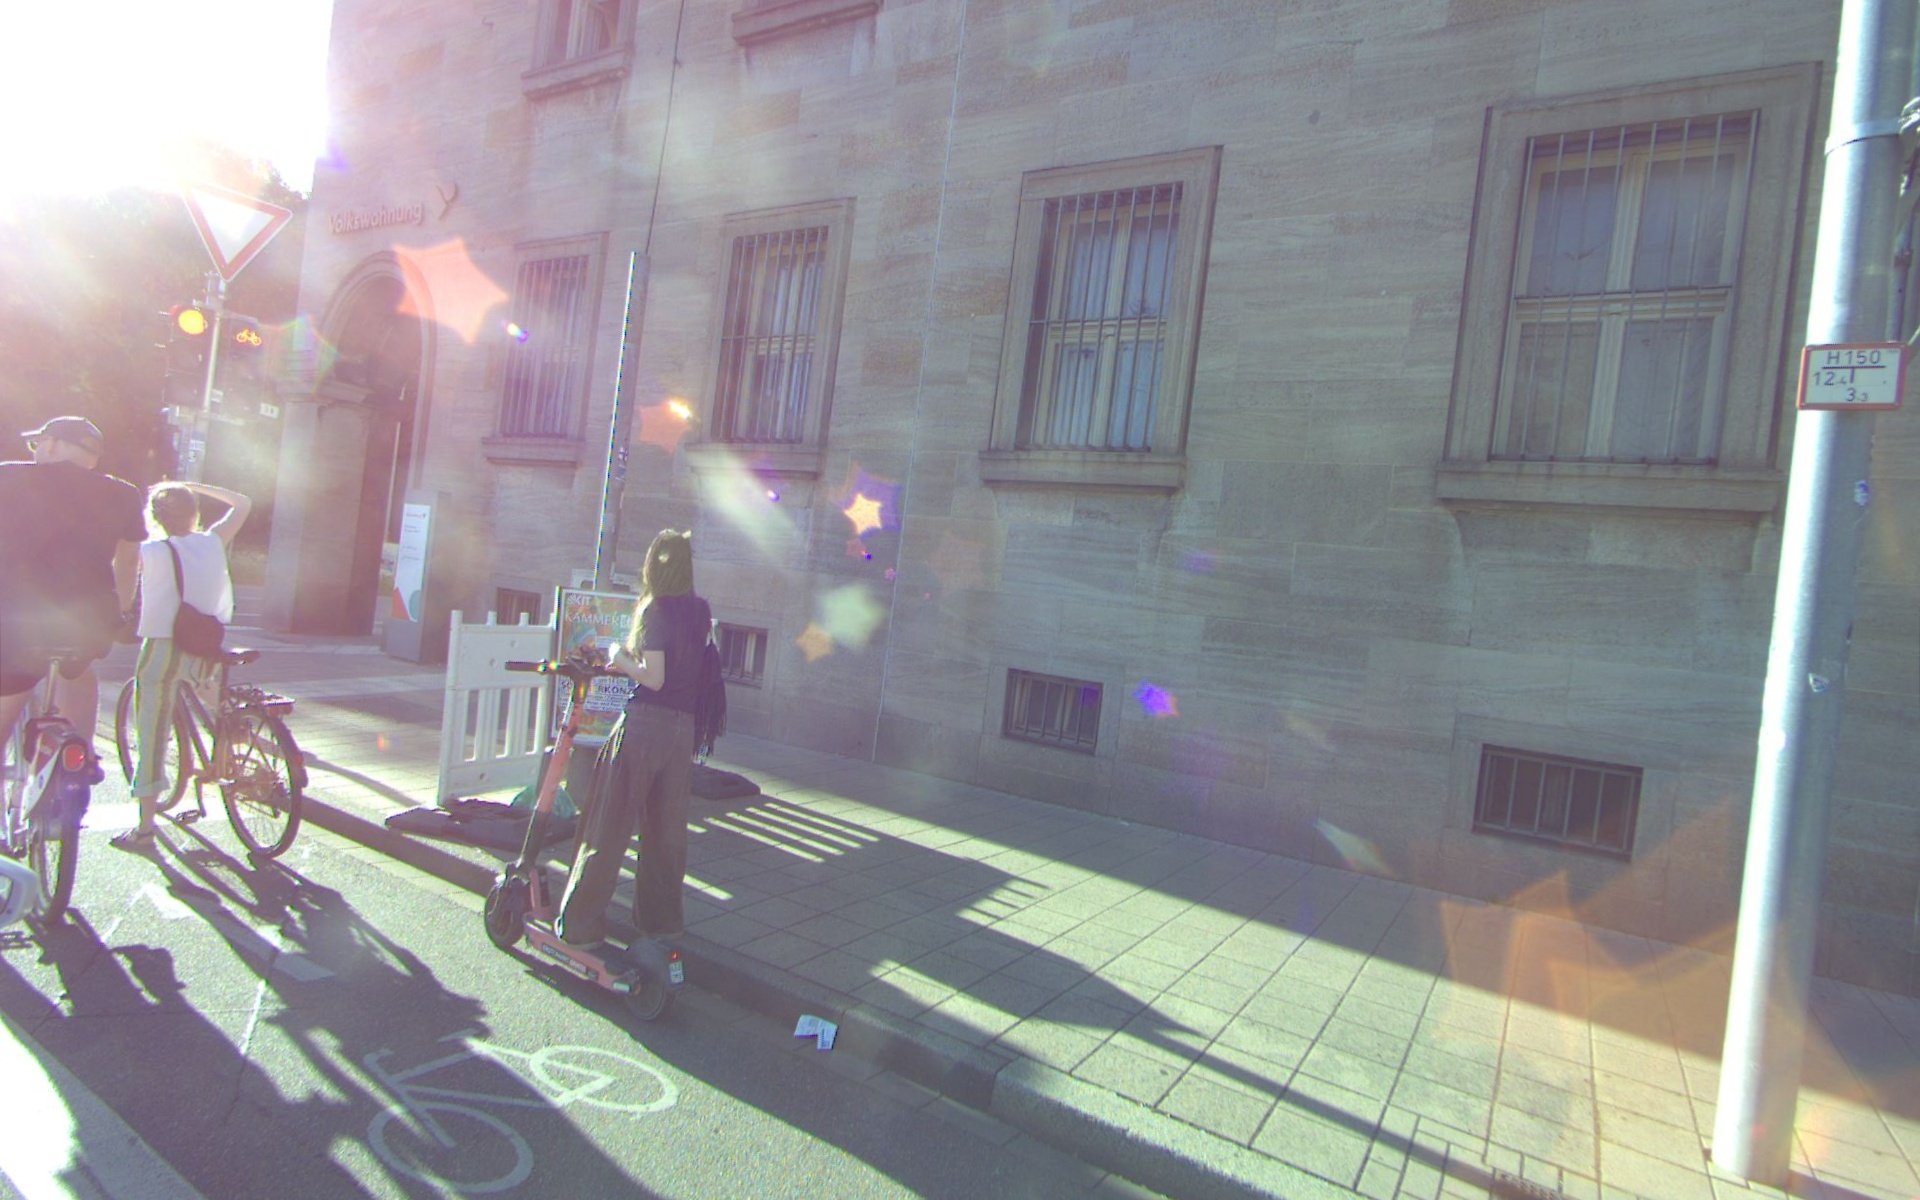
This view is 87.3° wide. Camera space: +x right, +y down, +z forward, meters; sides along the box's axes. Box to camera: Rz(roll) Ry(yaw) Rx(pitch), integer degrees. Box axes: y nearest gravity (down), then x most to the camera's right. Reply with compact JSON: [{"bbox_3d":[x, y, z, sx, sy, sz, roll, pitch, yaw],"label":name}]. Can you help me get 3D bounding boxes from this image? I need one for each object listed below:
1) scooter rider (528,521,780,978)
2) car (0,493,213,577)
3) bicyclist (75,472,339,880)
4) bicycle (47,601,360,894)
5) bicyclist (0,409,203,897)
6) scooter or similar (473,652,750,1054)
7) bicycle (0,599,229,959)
[{"bbox_3d":[-1.177,0.531,3.883,0.569,1.581,0.544,7,0,40],"label":"scooter rider"},{"bbox_3d":[-23.485,-1.750,27.355,1.967,1.533,4.586,6,-2,32],"label":"car"},{"bbox_3d":[-3.649,0.323,4.873,0.934,1.760,0.584,7,0,32],"label":"bicyclist"},{"bbox_3d":[-3.716,0.636,4.894,1.718,1.057,0.582,7,0,33],"label":"bicycle"},{"bbox_3d":[-3.664,0.177,3.991,0.897,1.736,0.624,7,0,31],"label":"bicyclist"},{"bbox_3d":[-1.389,0.867,3.866,0.570,1.162,1.261,9,-2,-33],"label":"scooter or similar"},{"bbox_3d":[-3.727,0.598,3.997,1.717,1.057,0.624,7,0,31],"label":"bicycle"}]
